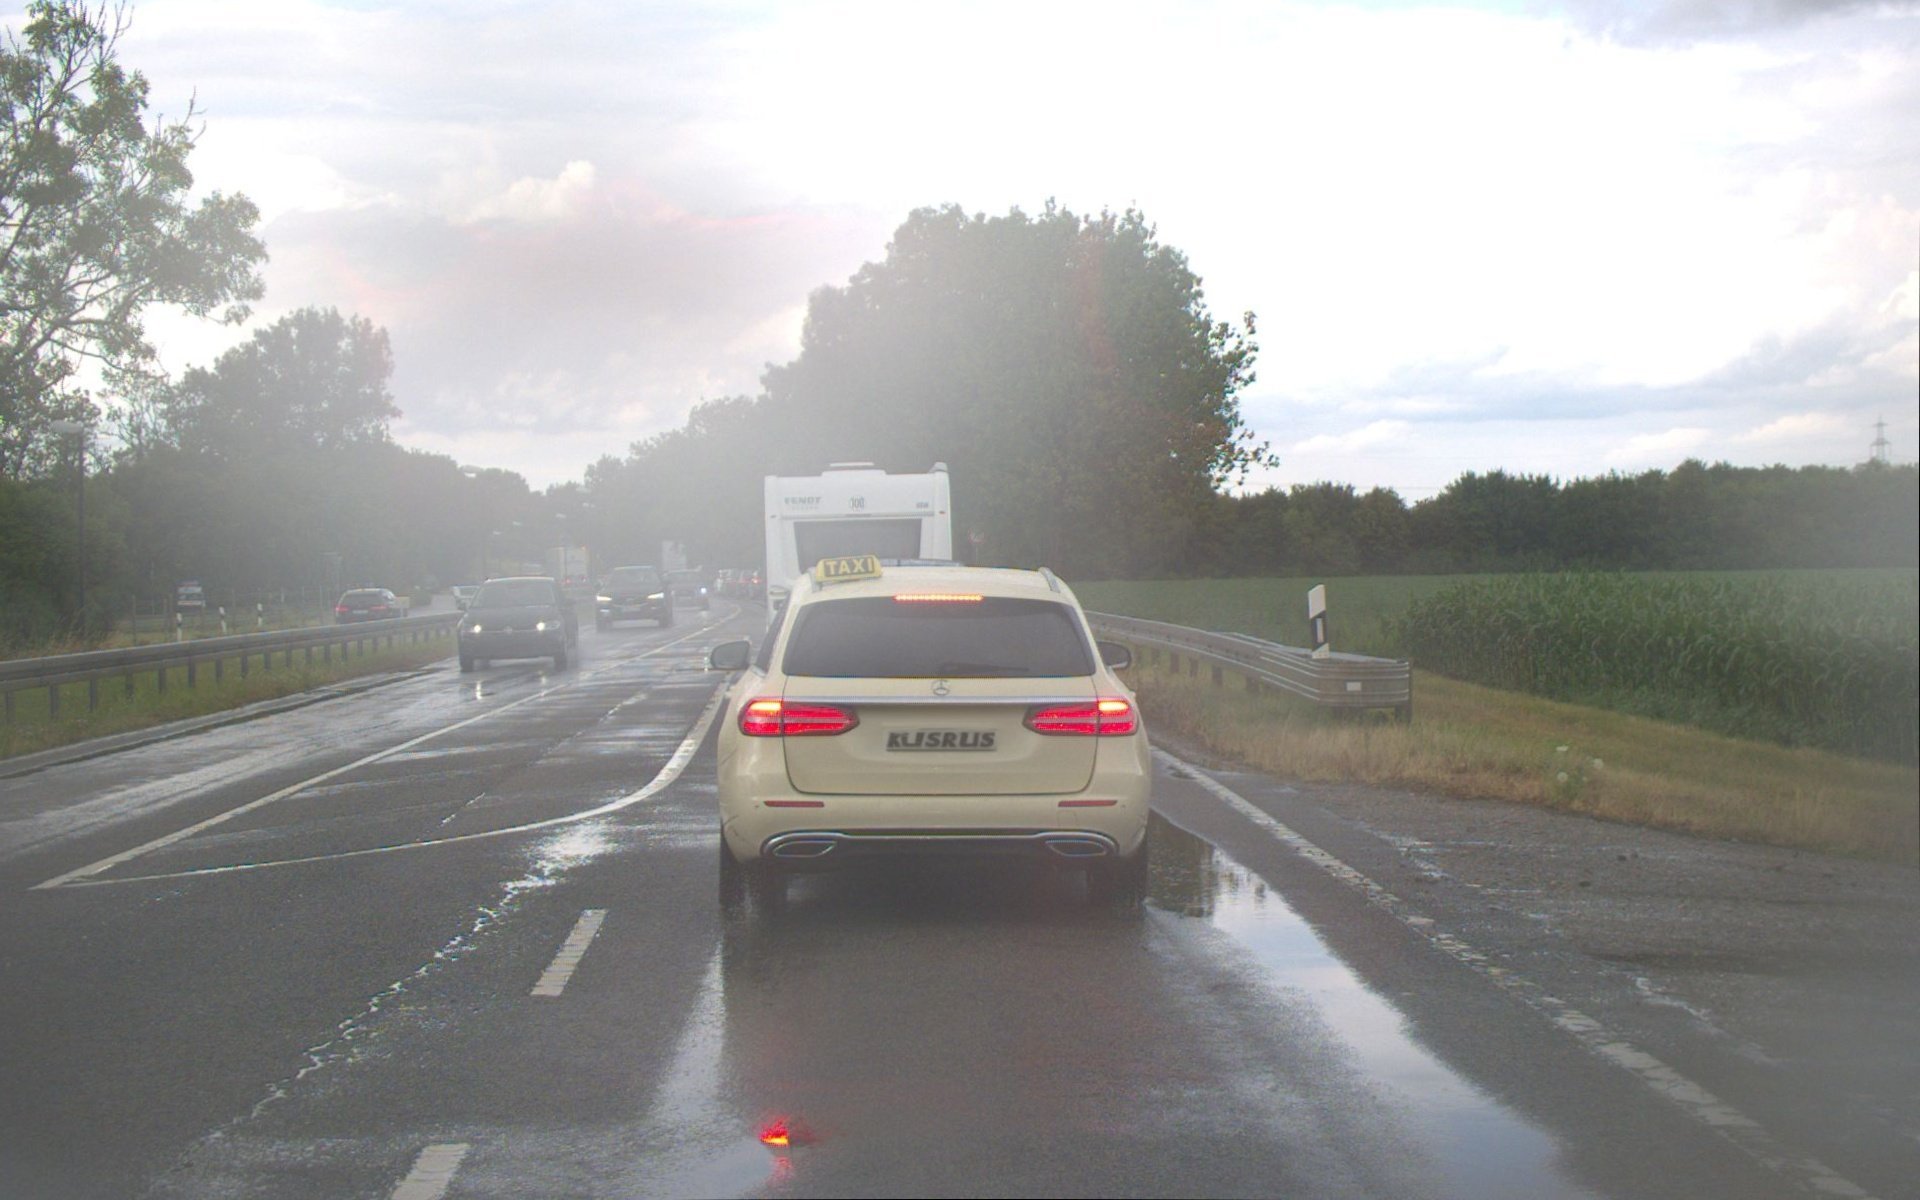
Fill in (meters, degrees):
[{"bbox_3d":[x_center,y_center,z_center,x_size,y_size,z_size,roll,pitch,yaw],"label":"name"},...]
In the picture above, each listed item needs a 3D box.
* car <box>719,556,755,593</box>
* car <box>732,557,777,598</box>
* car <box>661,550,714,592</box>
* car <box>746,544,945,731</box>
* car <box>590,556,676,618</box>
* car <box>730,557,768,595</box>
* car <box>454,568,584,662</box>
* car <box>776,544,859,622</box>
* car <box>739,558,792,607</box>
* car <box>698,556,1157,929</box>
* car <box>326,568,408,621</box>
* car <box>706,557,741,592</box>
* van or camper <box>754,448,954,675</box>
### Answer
[{"bbox_3d":[-12.608,-1.428,194.023,1.993,2.044,4.001,-1,1,-4],"label":"car"},{"bbox_3d":[-10.348,-1.138,172.670,1.993,2.007,4.001,-1,1,-6],"label":"car"},{"bbox_3d":[-10.580,-1.143,133.859,1.769,1.518,4.141,-3,1,-1],"label":"car"},{"bbox_3d":[-1.031,0.284,30.729,1.627,1.524,3.933,-1,1,-2],"label":"car"},{"bbox_3d":[-8.717,-0.369,91.928,1.944,1.575,4.443,-1,1,-1],"label":"car"},{"bbox_3d":[-11.510,-1.328,187.393,1.993,2.007,4.001,-1,1,-4],"label":"car"},{"bbox_3d":[-7.214,0.220,56.518,1.712,1.401,3.814,-2,1,-2],"label":"car"},{"bbox_3d":[-4.211,-0.511,100.776,2.246,2.191,5.413,-1,1,-4],"label":"car"},{"bbox_3d":[-8.195,-0.759,144.697,1.993,2.007,4.001,-1,1,-6],"label":"car"},{"bbox_3d":[-0.163,0.540,15.748,1.825,1.480,4.145,0,1,-1],"label":"car"},{"bbox_3d":[-19.448,-0.197,112.885,1.993,1.645,4.000,-2,1,-1],"label":"car"},{"bbox_3d":[-13.909,-1.480,201.954,1.993,2.007,4.001,-1,1,-4],"label":"car"},{"bbox_3d":[-1.376,-0.520,44.090,2.350,2.671,5.769,-1,1,-2],"label":"van or camper"}]
